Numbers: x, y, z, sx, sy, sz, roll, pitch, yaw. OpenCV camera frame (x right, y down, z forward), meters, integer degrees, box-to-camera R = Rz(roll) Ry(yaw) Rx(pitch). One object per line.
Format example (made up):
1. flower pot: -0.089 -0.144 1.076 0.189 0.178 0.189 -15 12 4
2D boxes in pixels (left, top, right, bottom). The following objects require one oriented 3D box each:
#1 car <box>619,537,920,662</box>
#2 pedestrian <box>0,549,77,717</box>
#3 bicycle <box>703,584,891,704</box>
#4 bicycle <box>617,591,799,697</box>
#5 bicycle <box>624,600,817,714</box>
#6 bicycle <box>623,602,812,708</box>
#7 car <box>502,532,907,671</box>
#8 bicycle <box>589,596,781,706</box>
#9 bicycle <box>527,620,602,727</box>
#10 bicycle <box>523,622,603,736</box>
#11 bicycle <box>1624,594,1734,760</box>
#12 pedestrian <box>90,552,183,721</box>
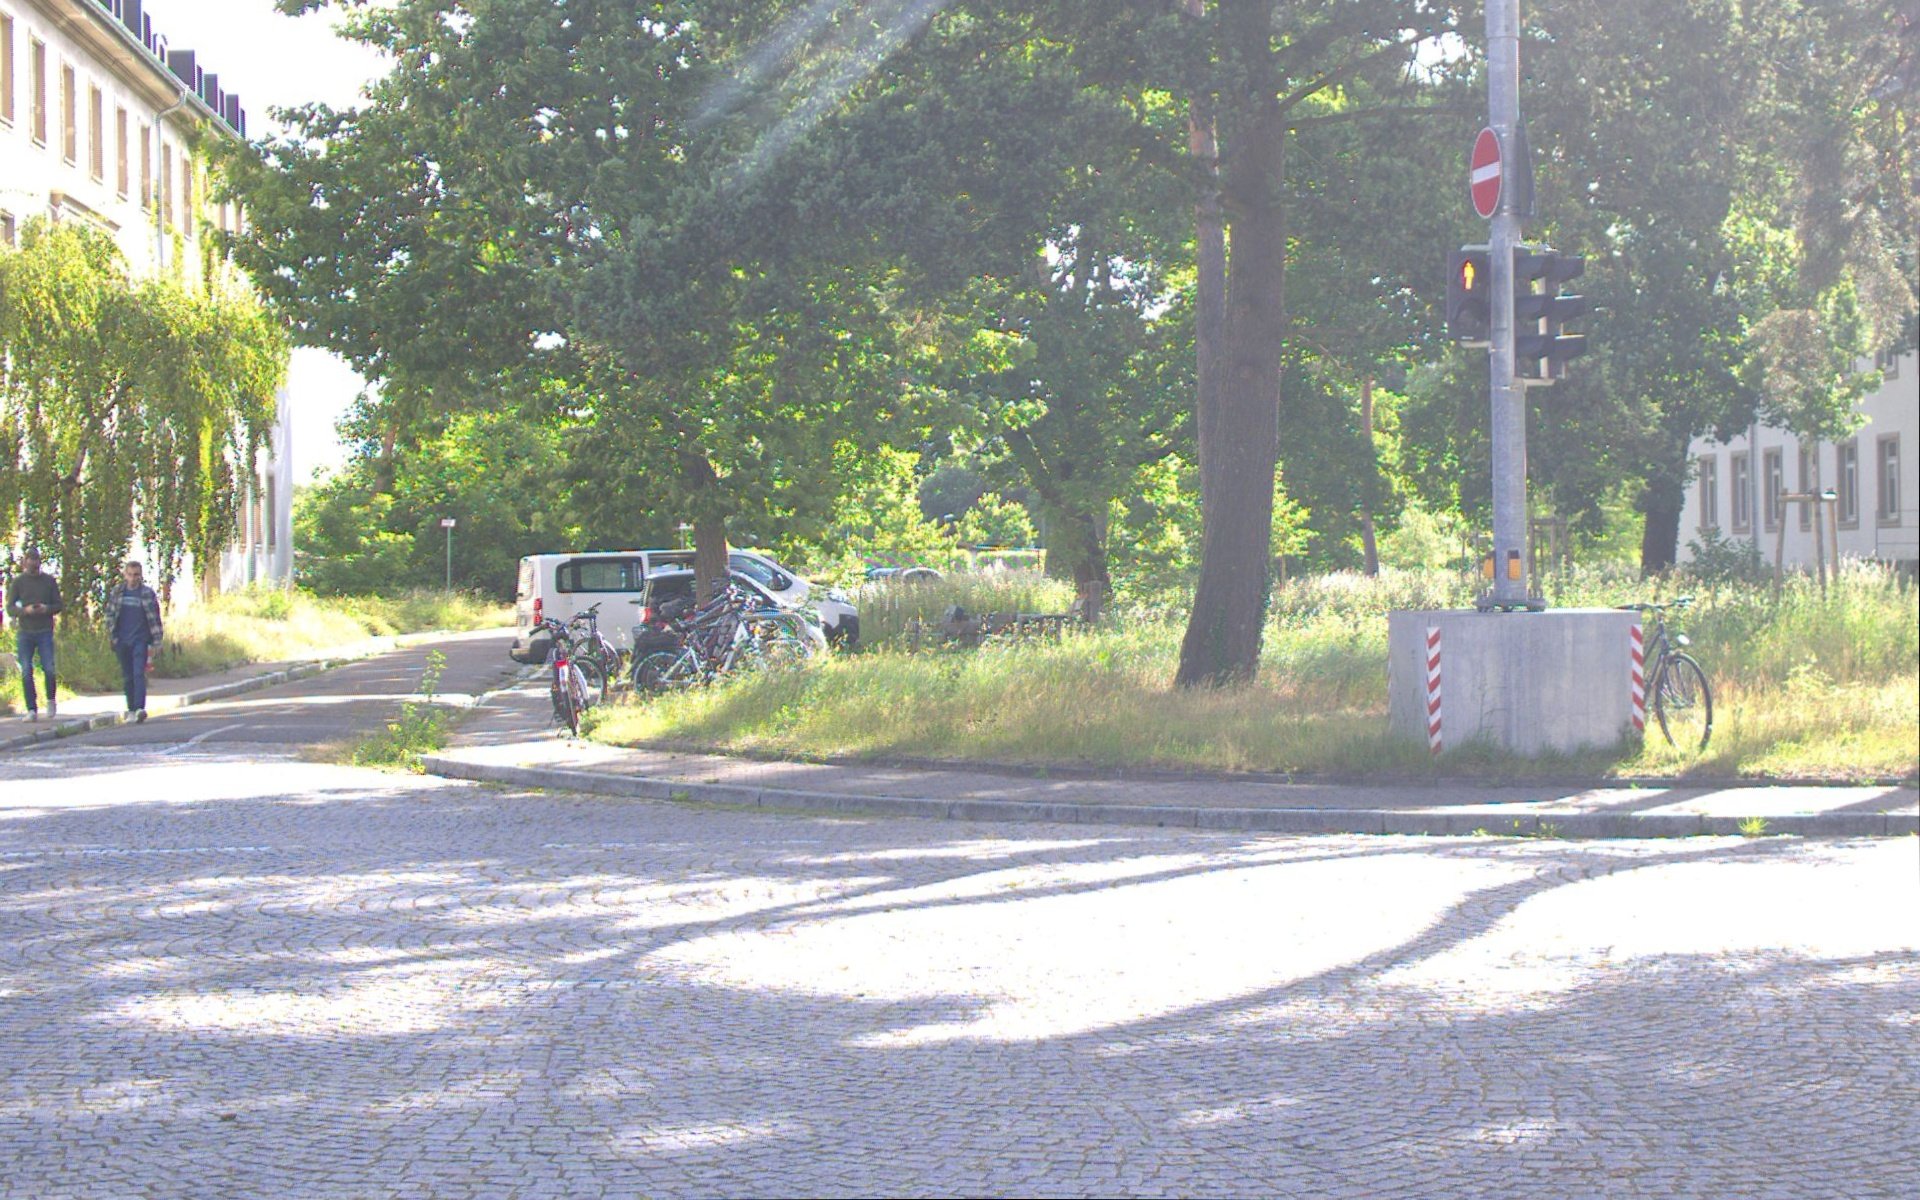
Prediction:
1. car: -2.710 -0.026 48.443 3.986 1.678 1.848 -1 1 -12
2. pedestrian: -10.111 0.354 37.410 0.812 1.811 0.555 -1 1 7
3. bicycle: -1.723 0.455 36.228 1.940 1.231 0.485 -1 0 -7
4. bicycle: -2.773 0.473 37.776 1.940 1.125 0.648 -1 0 -9
5. bicycle: -2.481 0.583 35.481 1.940 1.125 0.750 -1 0 -7
6. bicycle: -2.451 0.548 34.682 1.854 1.027 0.750 -1 0 -7
7. car: -3.956 0.002 52.709 5.929 2.007 2.476 -1 1 -11
8. bicycle: -2.927 0.530 36.665 1.941 1.125 0.648 -1 1 -31
9. bicycle: -3.794 0.688 33.049 0.695 0.968 1.861 0 1 -6
10. bicycle: -3.589 0.699 31.122 0.695 0.968 1.861 0 1 -6
11. bicycle: 4.800 0.503 22.996 0.466 1.076 1.174 -1 0 -1
12. pedestrian: -8.949 0.388 37.390 0.767 1.811 0.682 -1 1 7
